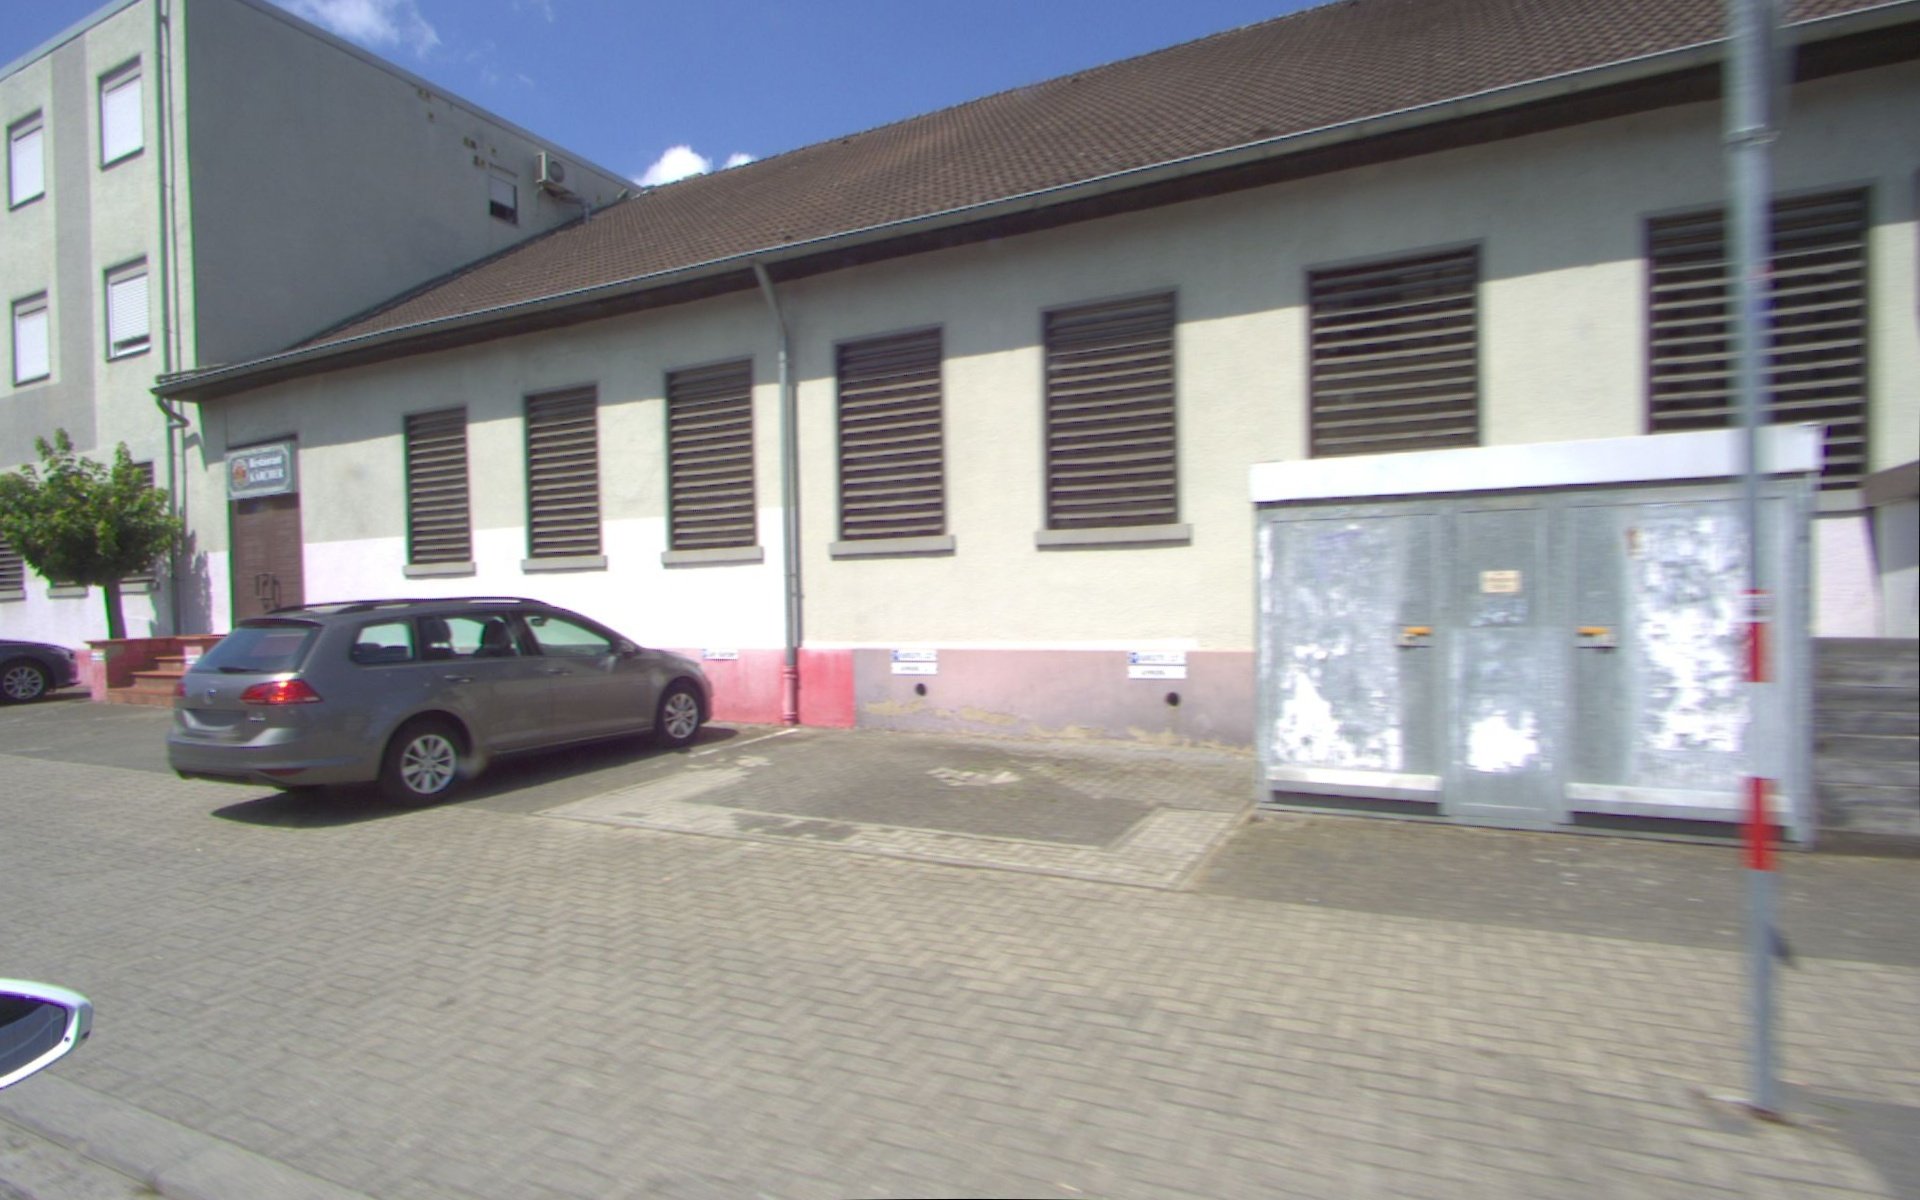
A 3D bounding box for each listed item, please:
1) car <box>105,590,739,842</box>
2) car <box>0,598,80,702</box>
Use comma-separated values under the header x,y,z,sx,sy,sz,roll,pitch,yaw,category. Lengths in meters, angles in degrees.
x,y,z,sx,sy,sz,roll,pitch,yaw,category
-4.122,0.705,8.621,1.888,1.474,4.522,-1,1,27,car
-15.852,0.814,14.290,1.968,1.540,4.497,-1,1,26,car
